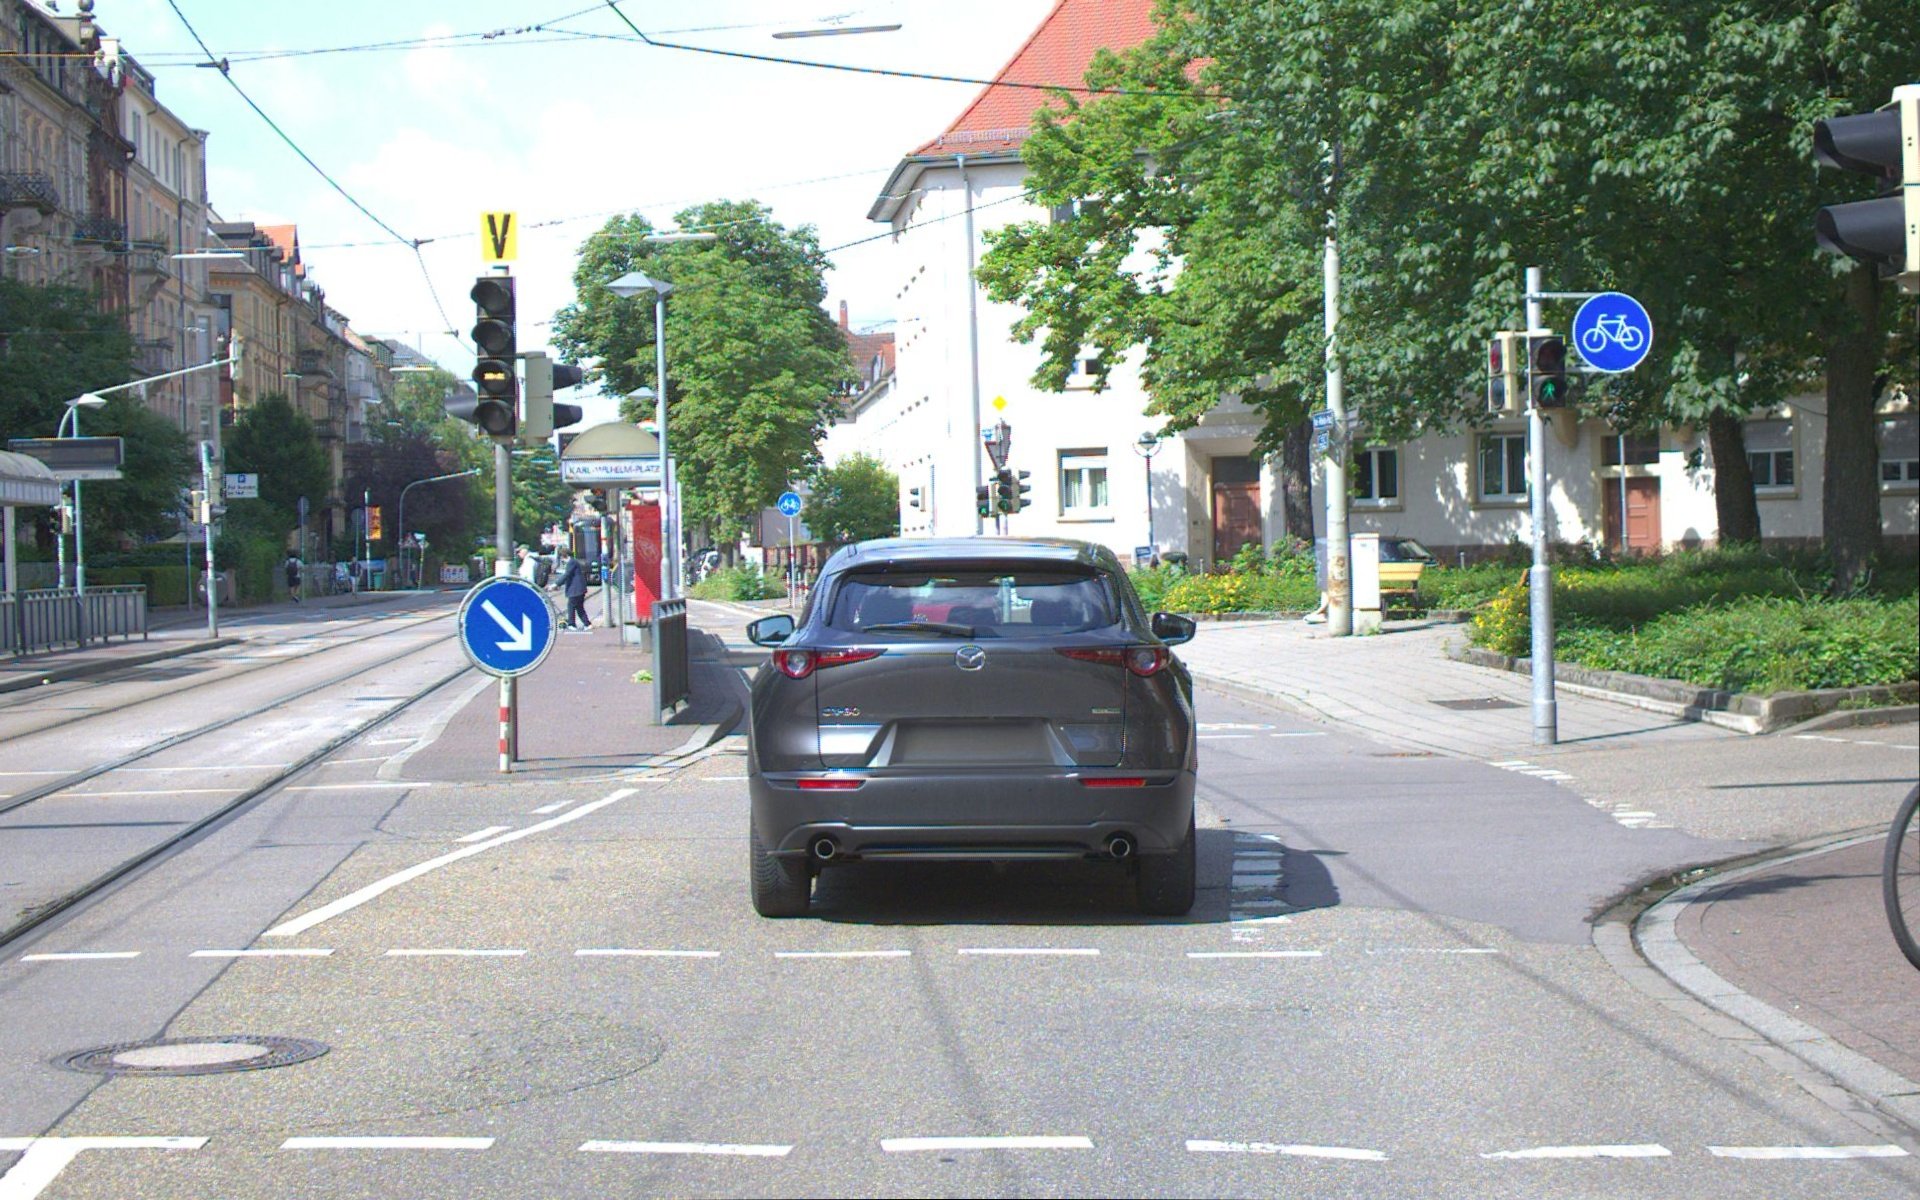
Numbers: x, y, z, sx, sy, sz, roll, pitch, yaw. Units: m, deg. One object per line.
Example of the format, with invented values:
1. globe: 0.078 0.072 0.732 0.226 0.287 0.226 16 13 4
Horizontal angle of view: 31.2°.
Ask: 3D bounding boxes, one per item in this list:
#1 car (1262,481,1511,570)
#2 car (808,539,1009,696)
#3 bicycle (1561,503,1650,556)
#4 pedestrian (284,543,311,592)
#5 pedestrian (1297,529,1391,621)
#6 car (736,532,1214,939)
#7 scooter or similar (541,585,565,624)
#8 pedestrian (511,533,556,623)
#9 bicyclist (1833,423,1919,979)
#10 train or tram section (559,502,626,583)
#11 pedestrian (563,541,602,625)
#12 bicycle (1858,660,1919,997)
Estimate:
1. car: 7.865 -1.370 63.581 4.167 1.504 1.848 0 3 38
2. car: -0.566 0.131 34.002 1.775 1.459 3.843 0 1 -4
3. bicycle: 13.095 -1.423 69.754 0.565 1.016 1.752 -5 3 -41
4. pedestrian: -22.829 -1.124 118.496 0.788 1.682 0.732 -1 1 -3
5. pedestrian: 5.618 -0.366 50.268 1.192 1.264 0.558 -4 1 -9
6. car: 0.037 0.492 14.984 1.782 1.509 4.000 1 1 -1
7. scooter or similar: -7.560 0.080 63.918 0.414 0.718 0.486 -1 1 -5
8. pedestrian: -8.030 -0.417 64.742 0.770 1.669 0.668 -1 1 -5
9. bicyclist: 3.464 0.321 11.352 0.733 1.813 0.820 -2 1 -27
10. train or tram section: -19.320 -2.947 181.390 2.997 3.970 13.811 -1 0 -4
11. pedestrian: -7.025 -0.319 63.958 0.667 1.540 0.581 -1 1 -5
12. bicycle: 3.597 0.693 11.469 0.389 1.032 1.841 -1 2 40
